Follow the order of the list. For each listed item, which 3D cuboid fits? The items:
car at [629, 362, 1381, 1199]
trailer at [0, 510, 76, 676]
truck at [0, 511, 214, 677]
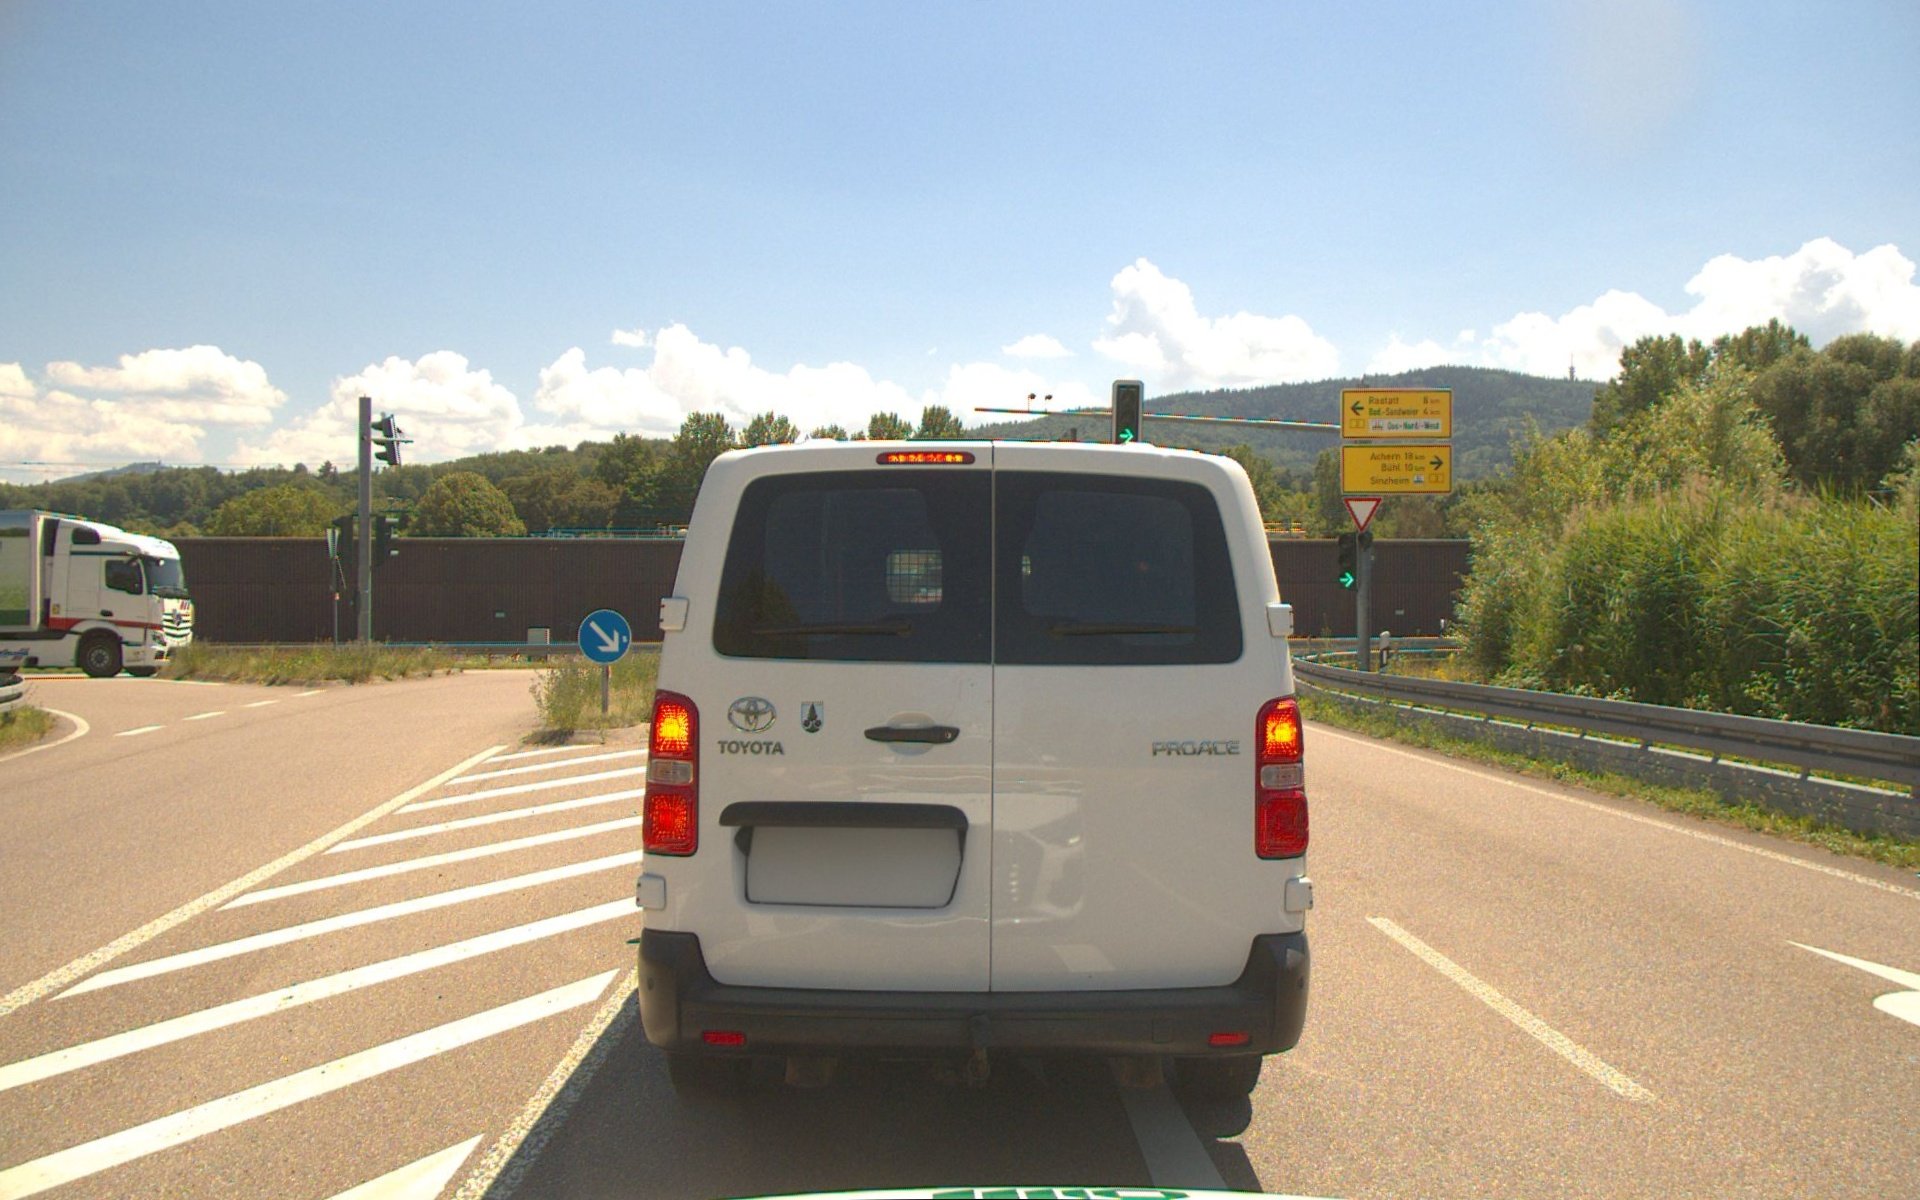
[{"bbox_3d":[0.083,0.477,5.923,1.778,2.053,3.999,0,0,-1],"label":"car"},{"bbox_3d":[-29.515,-0.179,41.443,12.877,4.024,3.060,0,-1,-3],"label":"trailer"},{"bbox_3d":[-22.386,-0.142,41.782,5.649,4.024,3.061,0,-1,-3],"label":"truck"}]
